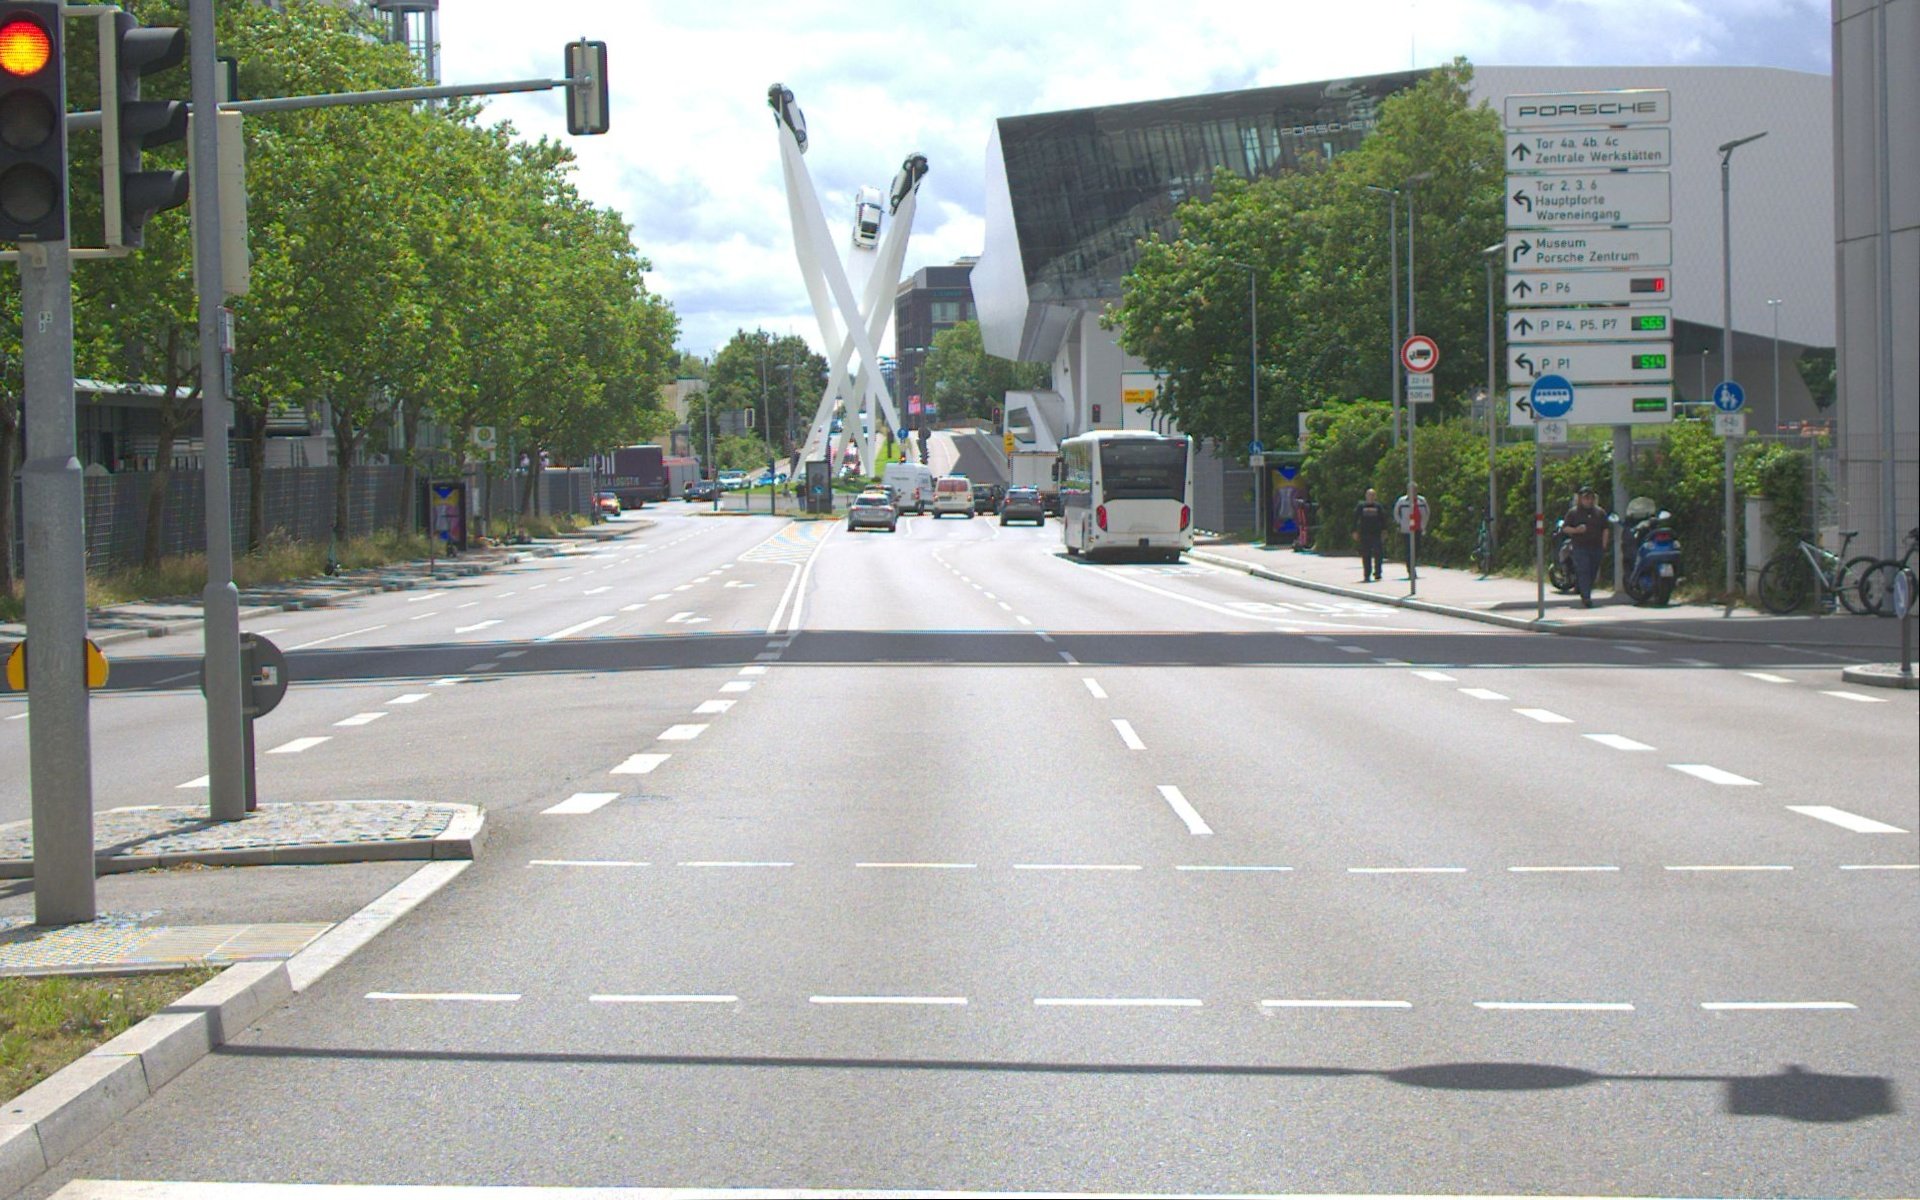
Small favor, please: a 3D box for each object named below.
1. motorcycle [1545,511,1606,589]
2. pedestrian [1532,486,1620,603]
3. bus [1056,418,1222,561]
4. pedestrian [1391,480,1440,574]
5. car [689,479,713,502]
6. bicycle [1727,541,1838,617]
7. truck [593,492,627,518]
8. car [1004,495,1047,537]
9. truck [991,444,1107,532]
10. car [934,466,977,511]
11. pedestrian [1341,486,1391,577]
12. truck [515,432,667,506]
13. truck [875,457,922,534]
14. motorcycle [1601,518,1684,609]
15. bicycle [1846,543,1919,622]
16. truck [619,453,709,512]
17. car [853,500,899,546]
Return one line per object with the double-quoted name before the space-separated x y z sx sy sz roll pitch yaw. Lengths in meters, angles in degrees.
"motorcycle" 9.981 -0.818 55.814 0.574 1.199 2.024 -2 2 -1
"pedestrian" 8.665 -0.782 48.336 0.849 1.619 0.954 1 2 41
"bus" 4.578 -2.866 90.286 3.452 3.531 10.607 0 1 -2
"pedestrian" 8.510 -1.368 64.231 0.820 1.735 0.637 0 1 -1
"car" -17.613 -7.413 233.355 1.583 1.532 3.679 0 1 -5
"bicycle" 10.520 -0.282 44.040 0.397 0.933 1.929 0 1 -19
"truck" -21.231 -5.762 208.333 1.583 1.532 3.680 0 1 -13
"car" 2.776 -3.574 146.124 1.738 1.735 3.692 0 1 -1
"truck" 4.589 -5.648 174.571 3.455 4.376 9.413 0 1 17
"car" -0.244 -5.356 165.554 1.993 2.007 4.000 1 0 -1
"pedestrian" 7.577 -1.281 64.214 0.820 1.701 0.881 0 1 -1
"truck" -23.775 -8.420 222.564 3.568 4.309 12.148 1 0 28
"truck" -3.110 -5.305 175.113 2.392 3.884 6.178 0 1 -1
"motorcycle" 9.510 -0.522 47.958 0.706 1.199 2.024 -2 2 -1
"bicycle" 11.571 -0.217 41.755 0.397 0.933 1.929 -1 2 -26
"truck" -20.702 -8.228 240.708 2.482 3.880 7.066 1 0 33
"car" -3.225 -2.971 132.662 1.738 1.735 3.692 0 1 -1
